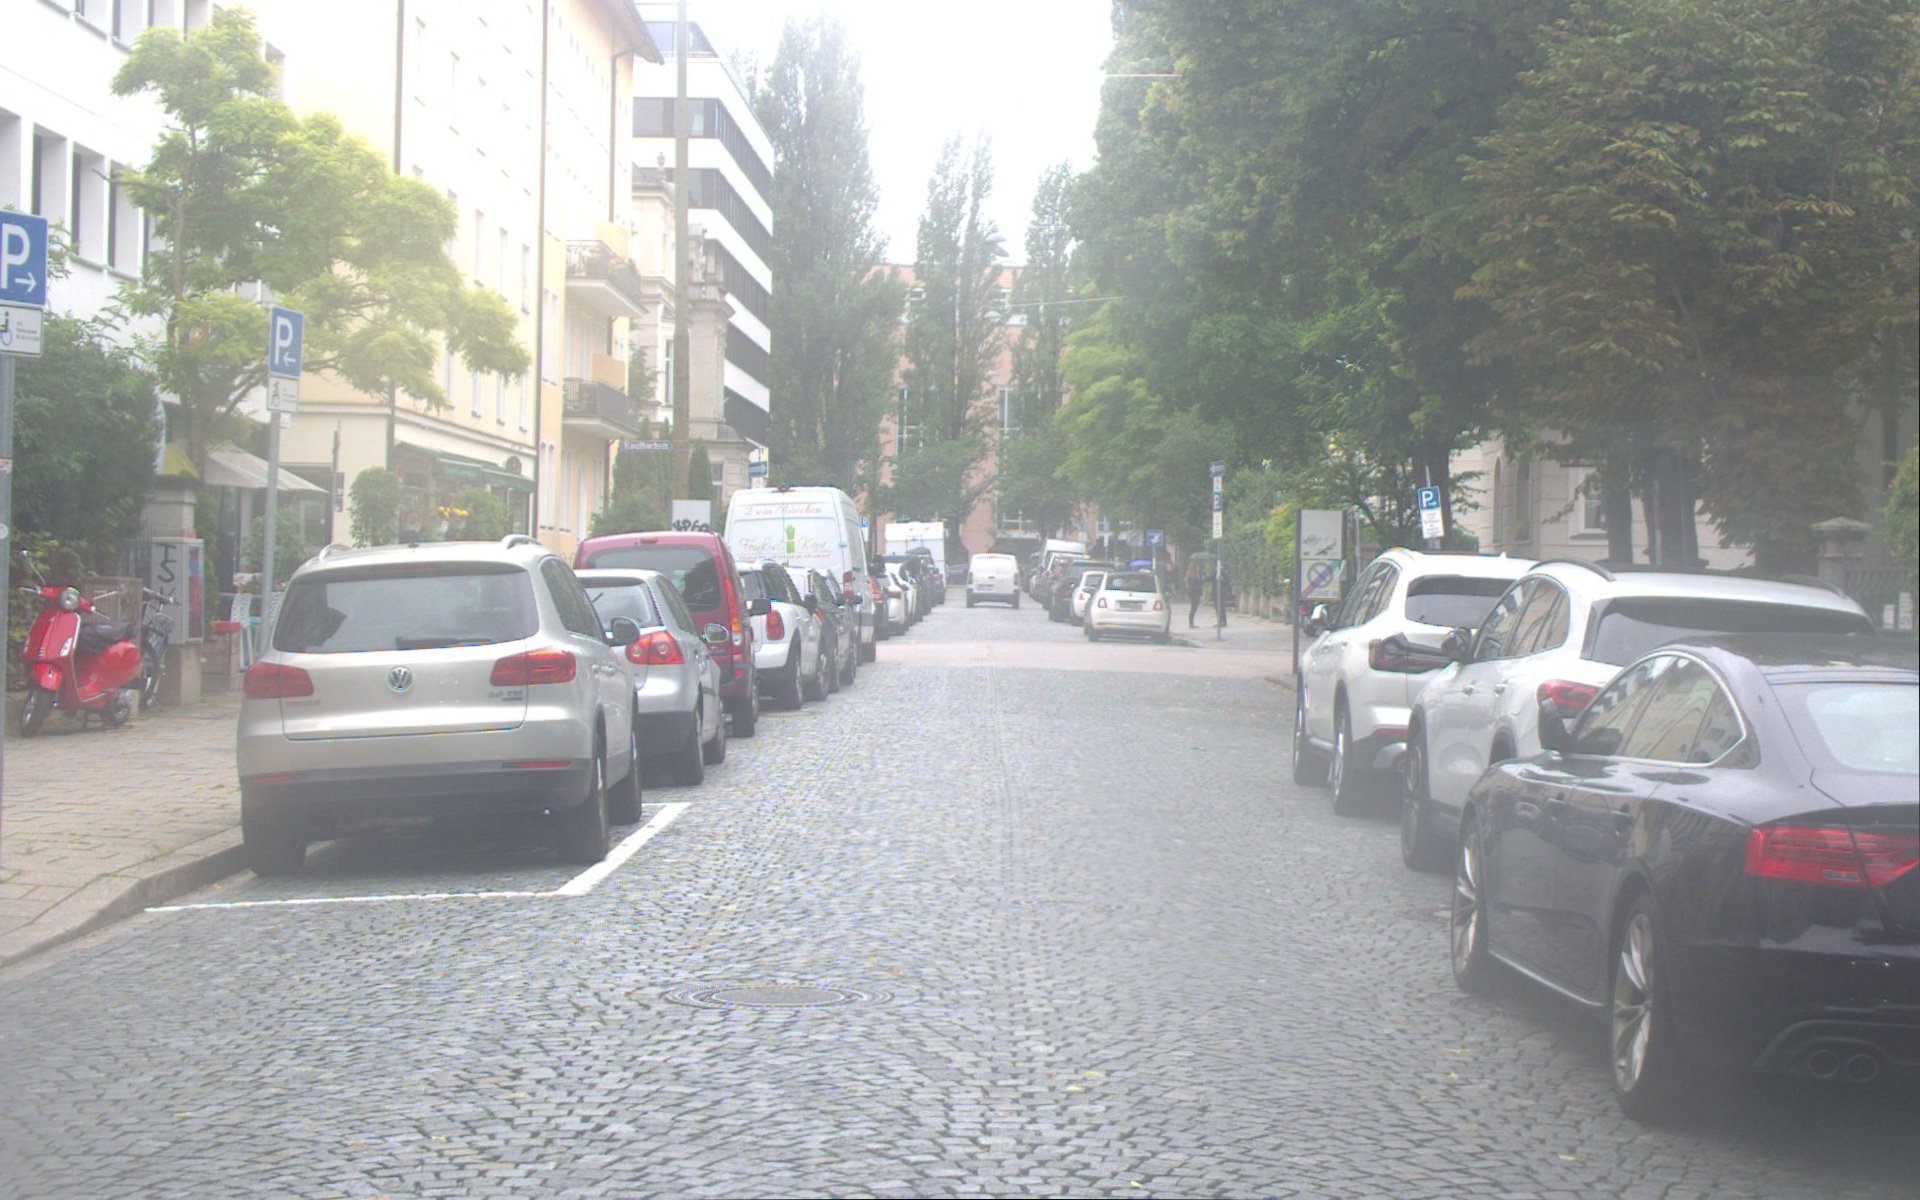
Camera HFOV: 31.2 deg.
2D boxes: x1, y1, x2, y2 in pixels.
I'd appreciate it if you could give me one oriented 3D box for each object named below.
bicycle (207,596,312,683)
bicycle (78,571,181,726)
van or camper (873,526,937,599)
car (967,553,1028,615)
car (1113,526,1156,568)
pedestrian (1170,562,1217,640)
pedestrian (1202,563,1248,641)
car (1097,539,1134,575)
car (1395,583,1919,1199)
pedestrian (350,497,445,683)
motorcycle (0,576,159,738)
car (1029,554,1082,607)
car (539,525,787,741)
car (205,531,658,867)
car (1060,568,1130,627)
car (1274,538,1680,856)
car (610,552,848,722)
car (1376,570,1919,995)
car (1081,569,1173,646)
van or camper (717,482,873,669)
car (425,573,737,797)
[{"bbox_3d":[-7.206,0.393,35.463,0.502,0.836,2.089,2,1,4],"label":"bicycle"},{"bbox_3d":[-6.982,0.388,28.837,0.655,1.217,2.090,1,1,-18],"label":"bicycle"},{"bbox_3d":[-2.141,-1.469,135.888,2.256,2.733,5.098,2,1,1],"label":"van or camper"},{"bbox_3d":[1.297,-0.558,117.543,1.993,2.007,4.000,2,1,1],"label":"car"},{"bbox_3d":[8.863,-2.700,175.028,1.993,2.007,4.000,2,0,1],"label":"car"},{"bbox_3d":[6.050,0.024,89.188,0.855,2.007,0.991,1,0,-16],"label":"pedestrian"},{"bbox_3d":[6.905,0.050,89.615,0.855,2.007,0.991,1,0,-16],"label":"pedestrian"},{"bbox_3d":[9.002,-2.502,199.571,1.993,2.007,4.000,2,0,1],"label":"car"},{"bbox_3d":[2.689,0.777,10.744,1.873,1.498,4.512,4,1,-1],"label":"car"},{"bbox_3d":[-5.940,-0.106,36.359,0.792,1.911,0.759,3,1,0],"label":"pedestrian"},{"bbox_3d":[-6.900,0.422,26.672,0.623,1.192,1.864,2,1,10],"label":"motorcycle"},{"bbox_3d":[3.775,-0.771,136.116,1.993,2.007,4.000,2,1,1],"label":"car"},{"bbox_3d":[-2.626,0.256,31.260,1.873,1.770,4.123,-2,1,0],"label":"car"},{"bbox_3d":[-2.727,0.449,18.654,1.873,1.574,4.256,-1,1,-1],"label":"car"},{"bbox_3d":[3.633,-0.090,92.924,1.790,1.515,4.000,2,1,1],"label":"car"},{"bbox_3d":[3.239,0.545,22.435,1.873,1.727,4.593,4,1,1],"label":"car"},{"bbox_3d":[-2.373,0.358,36.327,1.873,1.574,4.207,4,1,4],"label":"car"},{"bbox_3d":[3.156,0.723,15.952,1.817,1.574,4.208,5,1,0],"label":"car"},{"bbox_3d":[3.484,0.140,72.251,1.790,1.515,4.000,2,1,1],"label":"car"},{"bbox_3d":[-2.421,-0.366,51.286,1.993,2.643,4.000,-1,0,1],"label":"van or camper"},{"bbox_3d":[-2.627,0.539,24.702,1.873,1.446,4.208,0,1,-1],"label":"car"}]
